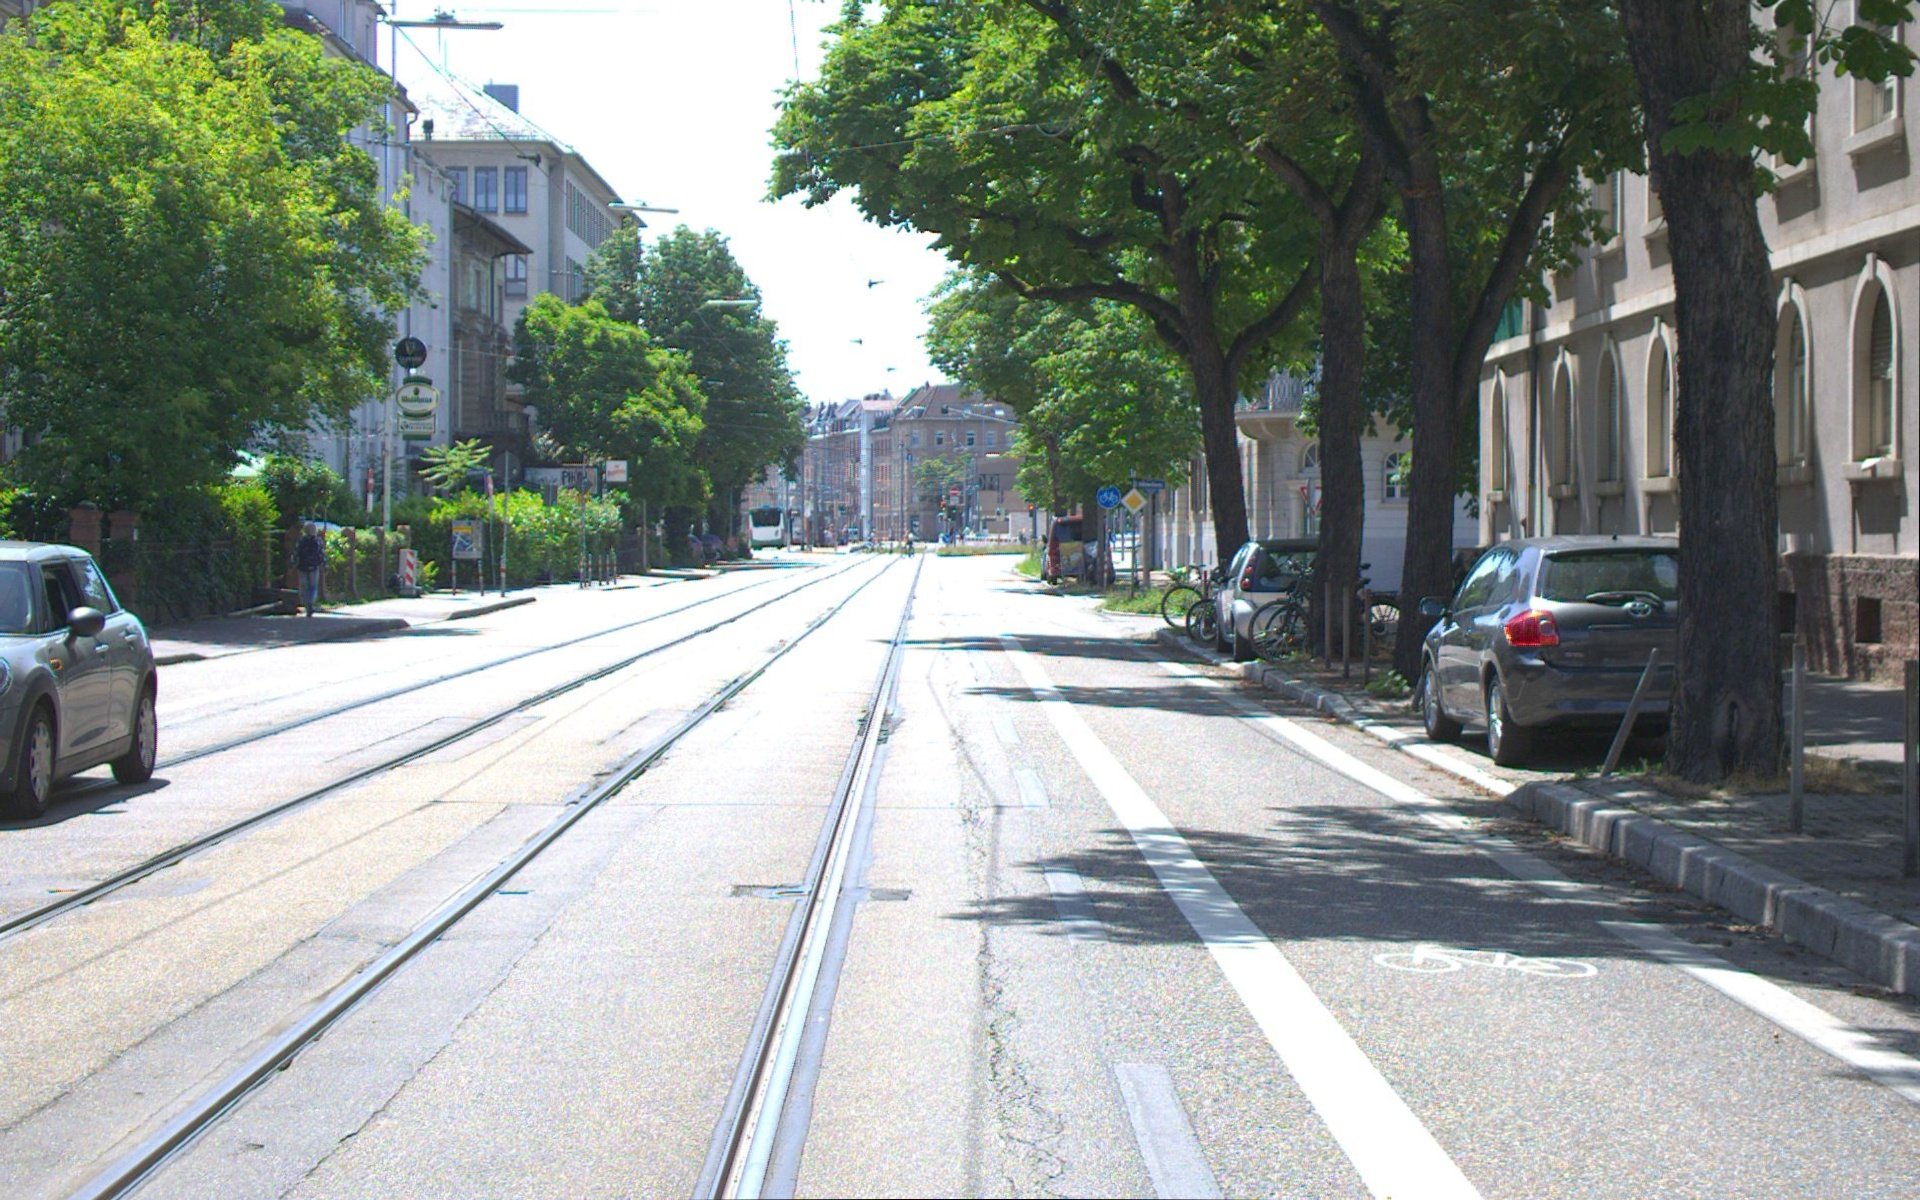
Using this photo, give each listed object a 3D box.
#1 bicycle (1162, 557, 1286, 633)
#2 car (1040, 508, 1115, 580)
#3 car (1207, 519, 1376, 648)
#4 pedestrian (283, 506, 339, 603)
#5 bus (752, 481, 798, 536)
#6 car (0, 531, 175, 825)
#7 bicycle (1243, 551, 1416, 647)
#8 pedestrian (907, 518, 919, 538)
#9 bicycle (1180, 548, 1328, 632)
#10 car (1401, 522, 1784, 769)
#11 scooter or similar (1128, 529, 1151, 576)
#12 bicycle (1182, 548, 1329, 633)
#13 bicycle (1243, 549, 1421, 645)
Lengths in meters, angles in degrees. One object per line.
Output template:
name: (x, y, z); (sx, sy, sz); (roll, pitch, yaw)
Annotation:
bicycle: (4.021, -0.081, 52.356); (1.816, 1.109, 0.493); (-1, 0, -1)
car: (3.431, -1.678, 101.255); (1.993, 2.028, 4.697); (-1, 2, 0)
car: (4.078, -0.225, 42.818); (1.621, 1.443, 3.810); (-3, 1, -1)
pedestrian: (-10.956, -0.769, 58.055); (0.751, 1.623, 0.833); (0, 1, 3)
bus: (-13.919, -6.857, 259.680); (2.931, 3.923, 11.276); (1, 1, -1)
car: (-5.590, 0.354, 18.968); (1.686, 1.449, 3.749); (0, 1, -1)
bicycle: (4.109, -0.017, 38.244); (1.890, 1.048, 0.538); (0, 1, 7)
pedestrian: (-2.731, -4.186, 200.072); (0.491, 1.169, 0.590); (-1, 1, -26)
bicycle: (4.092, -0.143, 47.970); (2.010, 1.109, 0.640); (-1, 0, 2)
car: (4.347, 0.245, 24.256); (1.774, 1.496, 4.306); (-2, 2, -1)
scooter or similar: (4.658, -1.237, 89.242); (0.501, 1.225, 1.573); (0, 1, -1)
bicycle: (4.071, -0.129, 47.372); (1.963, 1.109, 0.598); (-1, 0, 2)
bicycle: (4.186, -0.036, 38.677); (1.963, 1.059, 0.598); (0, 1, 7)
